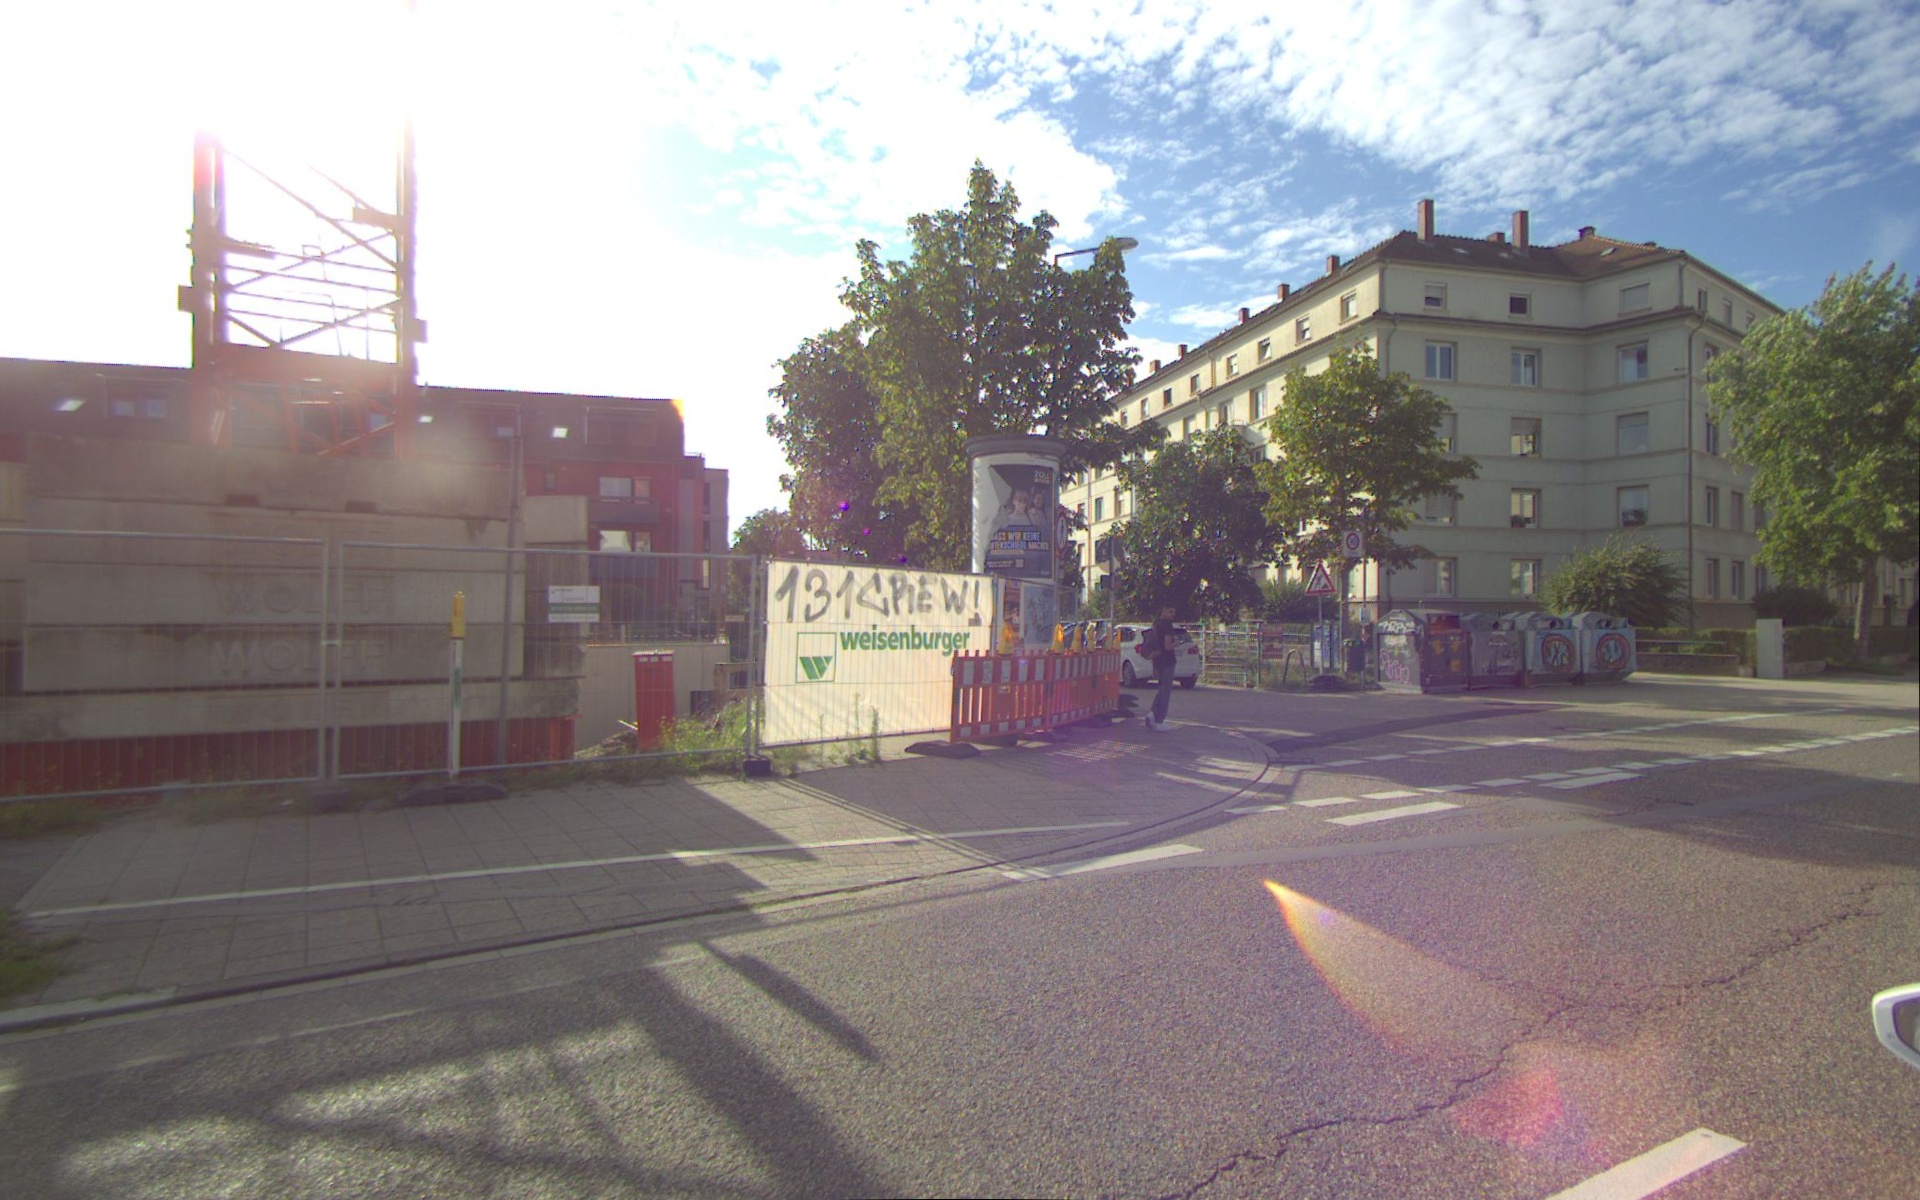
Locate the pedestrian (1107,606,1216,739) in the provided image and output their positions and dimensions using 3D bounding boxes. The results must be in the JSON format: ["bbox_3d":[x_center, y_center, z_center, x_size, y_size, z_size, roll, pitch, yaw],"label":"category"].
[{"bbox_3d":[2.814,0.971,14.008,1.171,1.751,0.997,2,-1,-45],"label":"pedestrian"}]

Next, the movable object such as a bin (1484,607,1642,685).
[{"bbox_3d":[14.472,1.060,24.264,1.388,1.730,3.100,1,0,-18],"label":"movable object such as a bin"}]

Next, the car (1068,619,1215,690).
[{"bbox_3d":[4.565,1.337,25.943,1.968,1.575,4.257,1,0,-18],"label":"car"}]

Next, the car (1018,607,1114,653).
[{"bbox_3d":[4.868,1.378,46.319,3.936,2.040,1.993,0,-1,-18],"label":"car"}]

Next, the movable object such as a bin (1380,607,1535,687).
[{"bbox_3d":[11.568,1.042,23.545,1.523,1.730,3.101,1,0,-17],"label":"movable object such as a bin"}]

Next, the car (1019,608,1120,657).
[{"bbox_3d":[4.739,1.393,43.655,3.936,2.040,1.993,0,-1,-18],"label":"car"}]
